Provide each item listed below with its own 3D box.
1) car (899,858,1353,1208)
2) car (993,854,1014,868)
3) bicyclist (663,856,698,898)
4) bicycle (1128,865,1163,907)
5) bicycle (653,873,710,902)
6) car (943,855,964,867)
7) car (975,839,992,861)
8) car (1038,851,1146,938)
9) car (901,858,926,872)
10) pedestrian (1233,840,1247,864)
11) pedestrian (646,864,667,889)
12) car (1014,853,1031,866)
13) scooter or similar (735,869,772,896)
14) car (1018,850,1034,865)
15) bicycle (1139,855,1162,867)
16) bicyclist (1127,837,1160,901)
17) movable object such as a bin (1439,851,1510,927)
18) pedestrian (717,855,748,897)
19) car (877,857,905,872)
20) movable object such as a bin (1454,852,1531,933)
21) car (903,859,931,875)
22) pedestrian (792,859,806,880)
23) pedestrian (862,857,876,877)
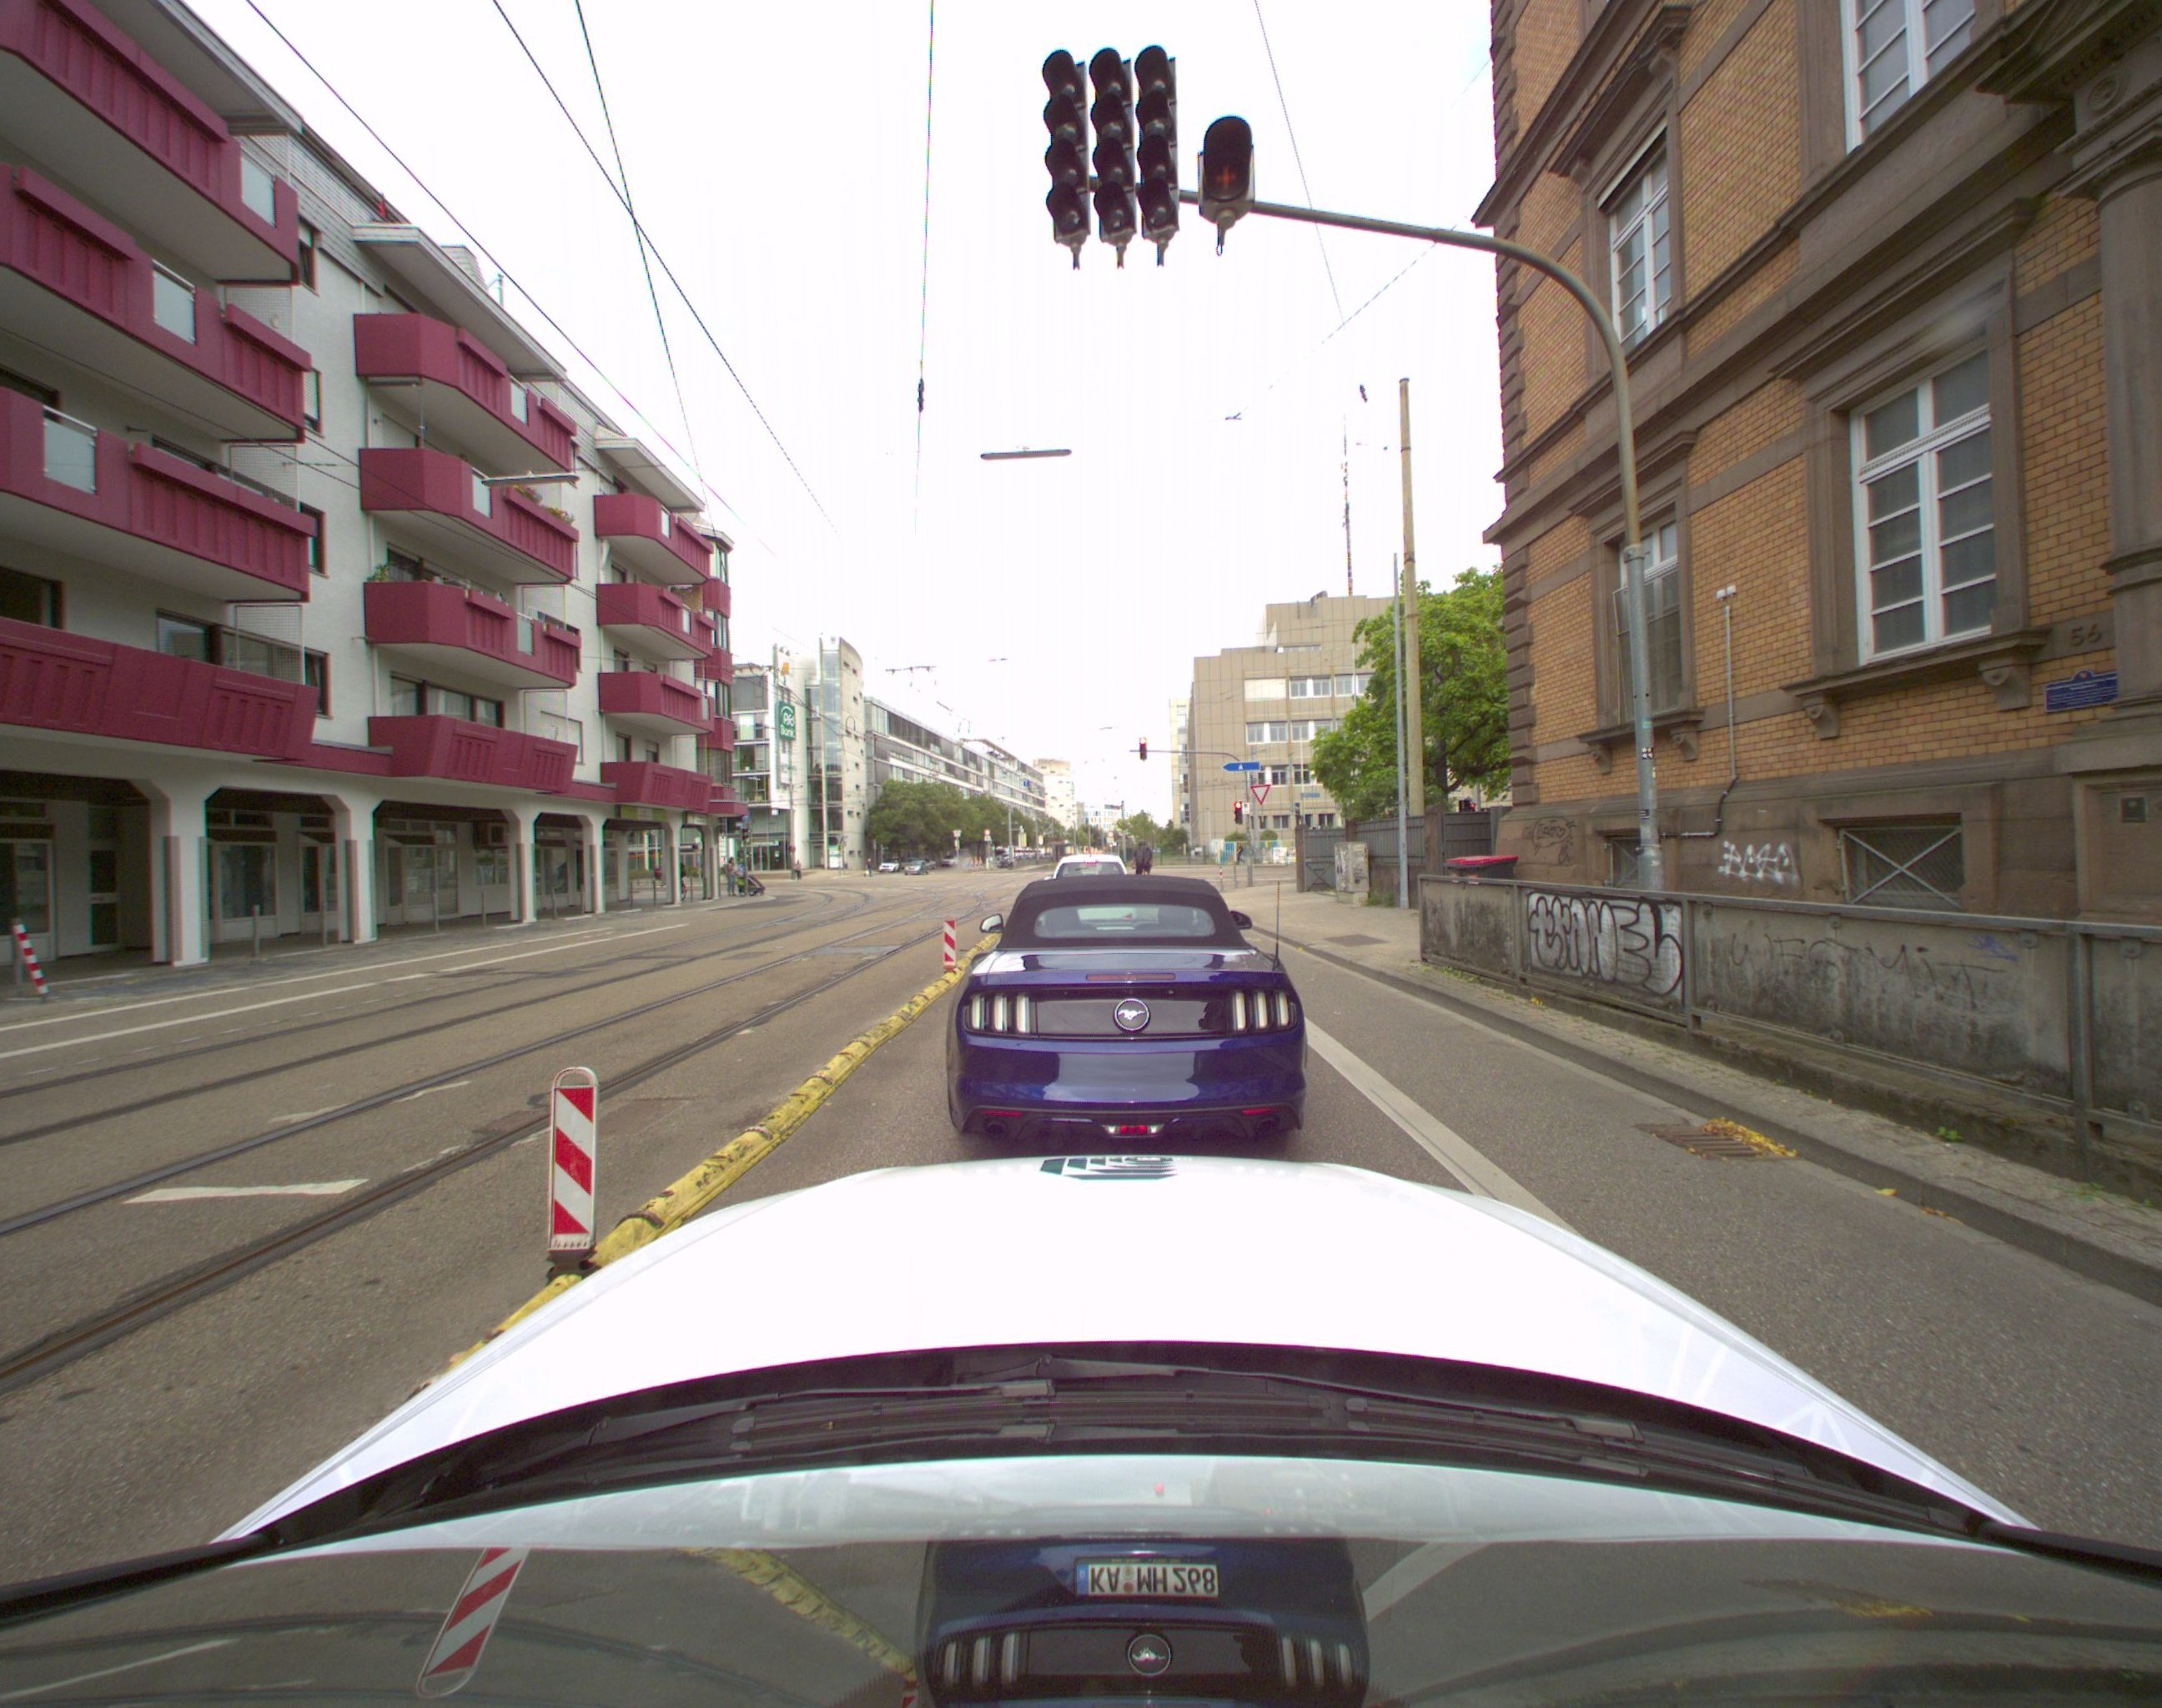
[{"bbox_3d":[0.264,0.756,5.516,1.869,1.404,4.284,0,0,2],"label":"car"},{"bbox_3d":[-9.276,0.841,97.664,1.872,1.628,4.089,-2,0,2],"label":"car"},{"bbox_3d":[-16.119,0.928,32.778,1.042,1.651,0.757,-2,0,26],"label":"bicyclist"},{"bbox_3d":[1.824,0.899,23.373,0.798,1.086,2.131,-2,0,0],"label":"bicycle"},{"bbox_3d":[-16.078,1.341,32.761,2.331,1.086,0.769,-2,0,26],"label":"bicycle"},{"bbox_3d":[-18.298,0.967,116.991,1.978,1.556,4.516,0,0,3],"label":"car"},{"bbox_3d":[-16.212,-0.626,135.978,1.978,3.636,4.516,0,0,3],"label":"car"},{"bbox_3d":[0.109,0.705,16.235,1.831,1.439,4.183,-2,0,-2],"label":"car"},{"bbox_3d":[-20.259,1.343,98.827,1.820,1.556,4.223,0,0,6],"label":"car"},{"bbox_3d":[13.385,-0.173,68.500,1.080,1.898,0.904,-2,0,7],"label":"pedestrian"},{"bbox_3d":[-29.473,1.562,56.570,0.928,1.671,0.769,-2,0,14],"label":"pedestrian"},{"bbox_3d":[-8.010,0.698,111.179,1.861,1.605,4.214,-2,0,2],"label":"car"},{"bbox_3d":[-14.338,1.241,35.685,1.192,1.128,0.946,-1,0,-1],"label":"scooter or similar"},{"bbox_3d":[-7.833,0.453,116.347,1.778,1.987,4.123,-2,0,2],"label":"car"},{"bbox_3d":[6.188,0.638,72.741,0.637,0.981,2.133,-2,-2,-40],"label":"bicycle"},{"bbox_3d":[1.806,0.413,23.546,0.793,1.785,1.233,-2,0,0],"label":"bicyclist"},{"bbox_3d":[6.044,0.527,12.548,0.649,1.082,0.677,-5,-1,-4],"label":"movable object such as a bin"},{"bbox_3d":[-15.231,0.952,35.634,0.945,1.743,0.811,-2,0,-2],"label":"pedestrian"},{"bbox_3d":[-21.326,1.155,91.623,1.820,1.556,4.223,0,0,6],"label":"car"},{"bbox_3d":[5.964,0.548,11.833,0.662,1.082,0.700,-5,-1,-3],"label":"movable object such as a bin"},{"bbox_3d":[-16.798,1.295,83.624,1.659,1.506,4.242,0,0,6],"label":"car"},{"bbox_3d":[-25.344,1.358,73.119,0.828,1.865,0.769,-2,0,14],"label":"pedestrian"},{"bbox_3d":[-20.274,1.212,77.886,0.983,1.855,0.904,-2,0,8],"label":"pedestrian"}]
